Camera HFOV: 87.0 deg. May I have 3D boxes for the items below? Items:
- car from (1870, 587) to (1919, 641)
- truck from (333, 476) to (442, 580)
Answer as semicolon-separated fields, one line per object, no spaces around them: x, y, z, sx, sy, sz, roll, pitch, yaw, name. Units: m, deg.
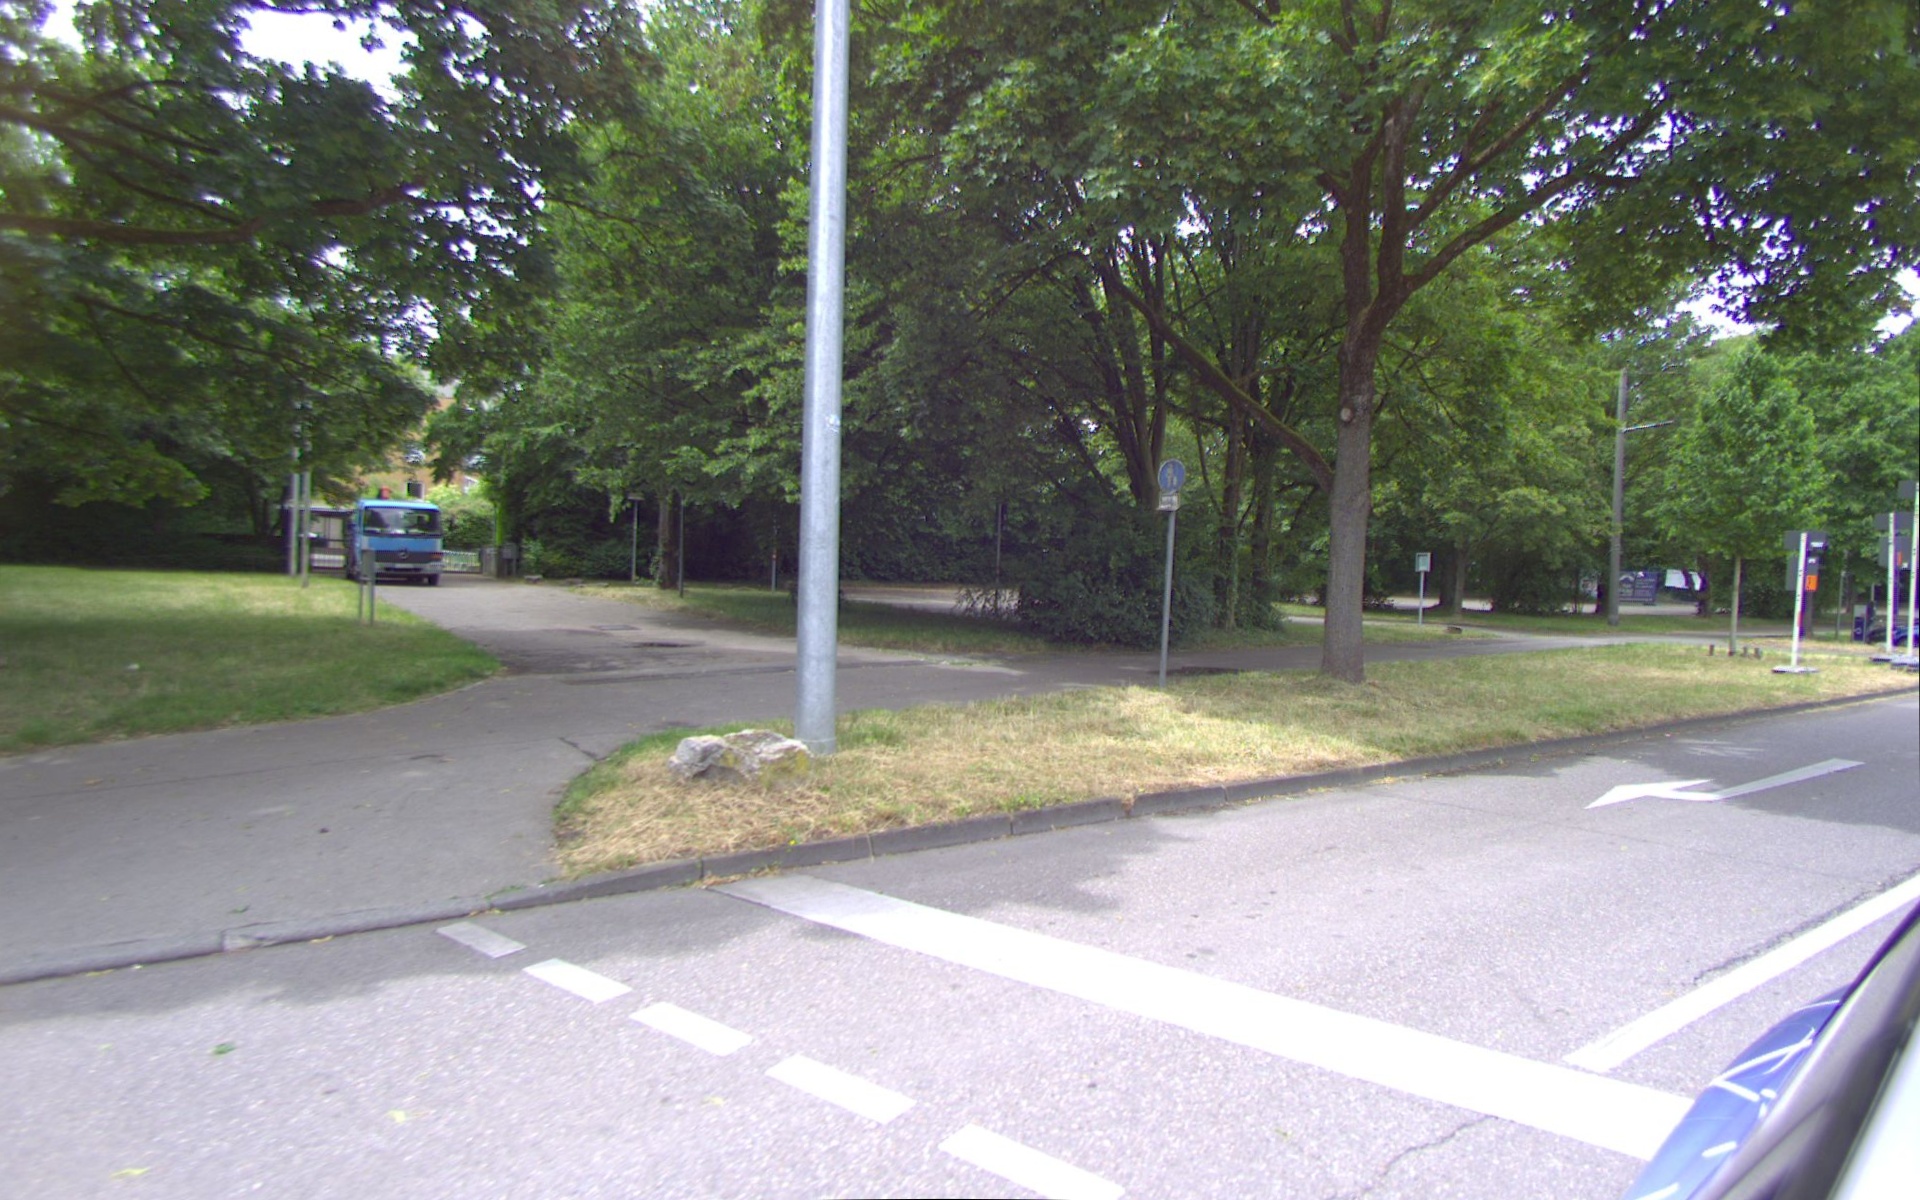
29.472;0.478;29.593;3.975;1.504;1.895;4;4;35;car
-18.463;-2.214;32.407;2.435;2.882;7.437;1;2;-34;truck
